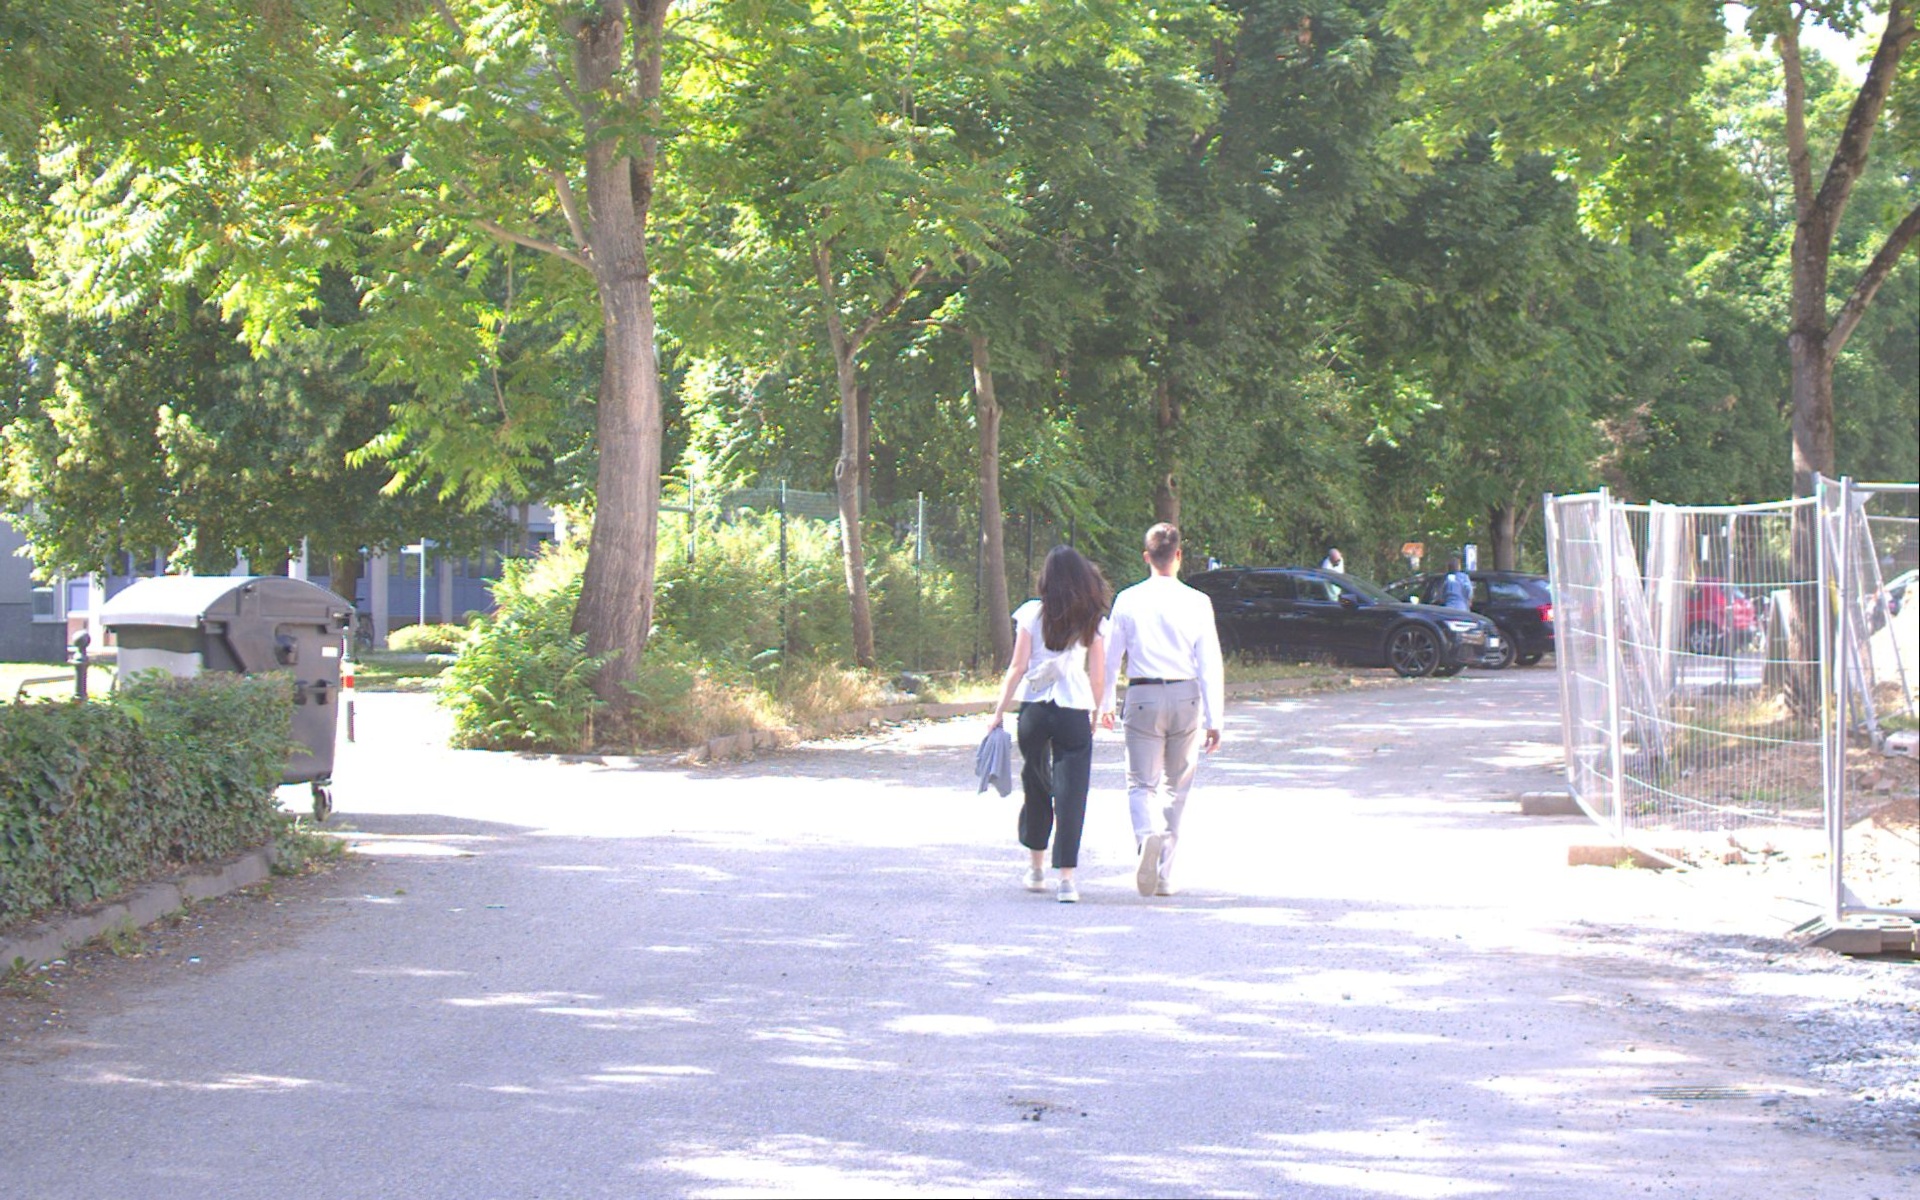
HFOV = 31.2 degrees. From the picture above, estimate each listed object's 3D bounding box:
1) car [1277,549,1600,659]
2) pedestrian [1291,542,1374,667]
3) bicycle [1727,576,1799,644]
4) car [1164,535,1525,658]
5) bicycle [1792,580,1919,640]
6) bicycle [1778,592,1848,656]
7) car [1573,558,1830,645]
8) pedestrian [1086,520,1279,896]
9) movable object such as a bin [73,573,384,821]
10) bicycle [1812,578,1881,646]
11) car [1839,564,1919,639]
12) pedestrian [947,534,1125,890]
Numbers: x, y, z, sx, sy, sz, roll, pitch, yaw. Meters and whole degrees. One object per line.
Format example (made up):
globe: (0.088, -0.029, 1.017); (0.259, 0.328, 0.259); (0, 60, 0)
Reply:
car: (7.418, 0.034, 53.229); (4.660, 1.579, 1.998); (1, 2, 19)
pedestrian: (5.352, 0.059, 49.361); (1.015, 1.775, 0.819); (1, 1, 19)
bicycle: (15.776, 0.179, 67.500); (0.715, 1.280, 2.787); (1, 1, 27)
car: (5.343, -0.083, 47.690); (4.660, 1.579, 1.998); (1, 2, 19)
bicycle: (20.123, 0.216, 77.237); (2.678, 1.280, 0.818); (1, 1, 21)
bicycle: (17.818, 0.491, 71.754); (0.817, 1.280, 2.680); (1, 1, 27)
car: (13.678, 0.002, 63.434); (4.292, 1.519, 1.890); (1, 1, 26)
pedestrian: (1.042, 0.490, 16.269); (0.755, 1.722, 0.854); (0, 2, -6)
movable object such as a bin: (-4.332, 0.542, 20.347); (1.245, 1.392, 1.403); (0, 1, -44)
bicycle: (17.177, 0.220, 66.595); (0.715, 1.280, 2.680); (1, 1, 27)
car: (23.586, 0.043, 83.504); (3.994, 1.766, 1.765); (1, 1, 30)
pedestrian: (0.353, 0.512, 16.313); (0.735, 1.634, 0.781); (0, 2, -6)
